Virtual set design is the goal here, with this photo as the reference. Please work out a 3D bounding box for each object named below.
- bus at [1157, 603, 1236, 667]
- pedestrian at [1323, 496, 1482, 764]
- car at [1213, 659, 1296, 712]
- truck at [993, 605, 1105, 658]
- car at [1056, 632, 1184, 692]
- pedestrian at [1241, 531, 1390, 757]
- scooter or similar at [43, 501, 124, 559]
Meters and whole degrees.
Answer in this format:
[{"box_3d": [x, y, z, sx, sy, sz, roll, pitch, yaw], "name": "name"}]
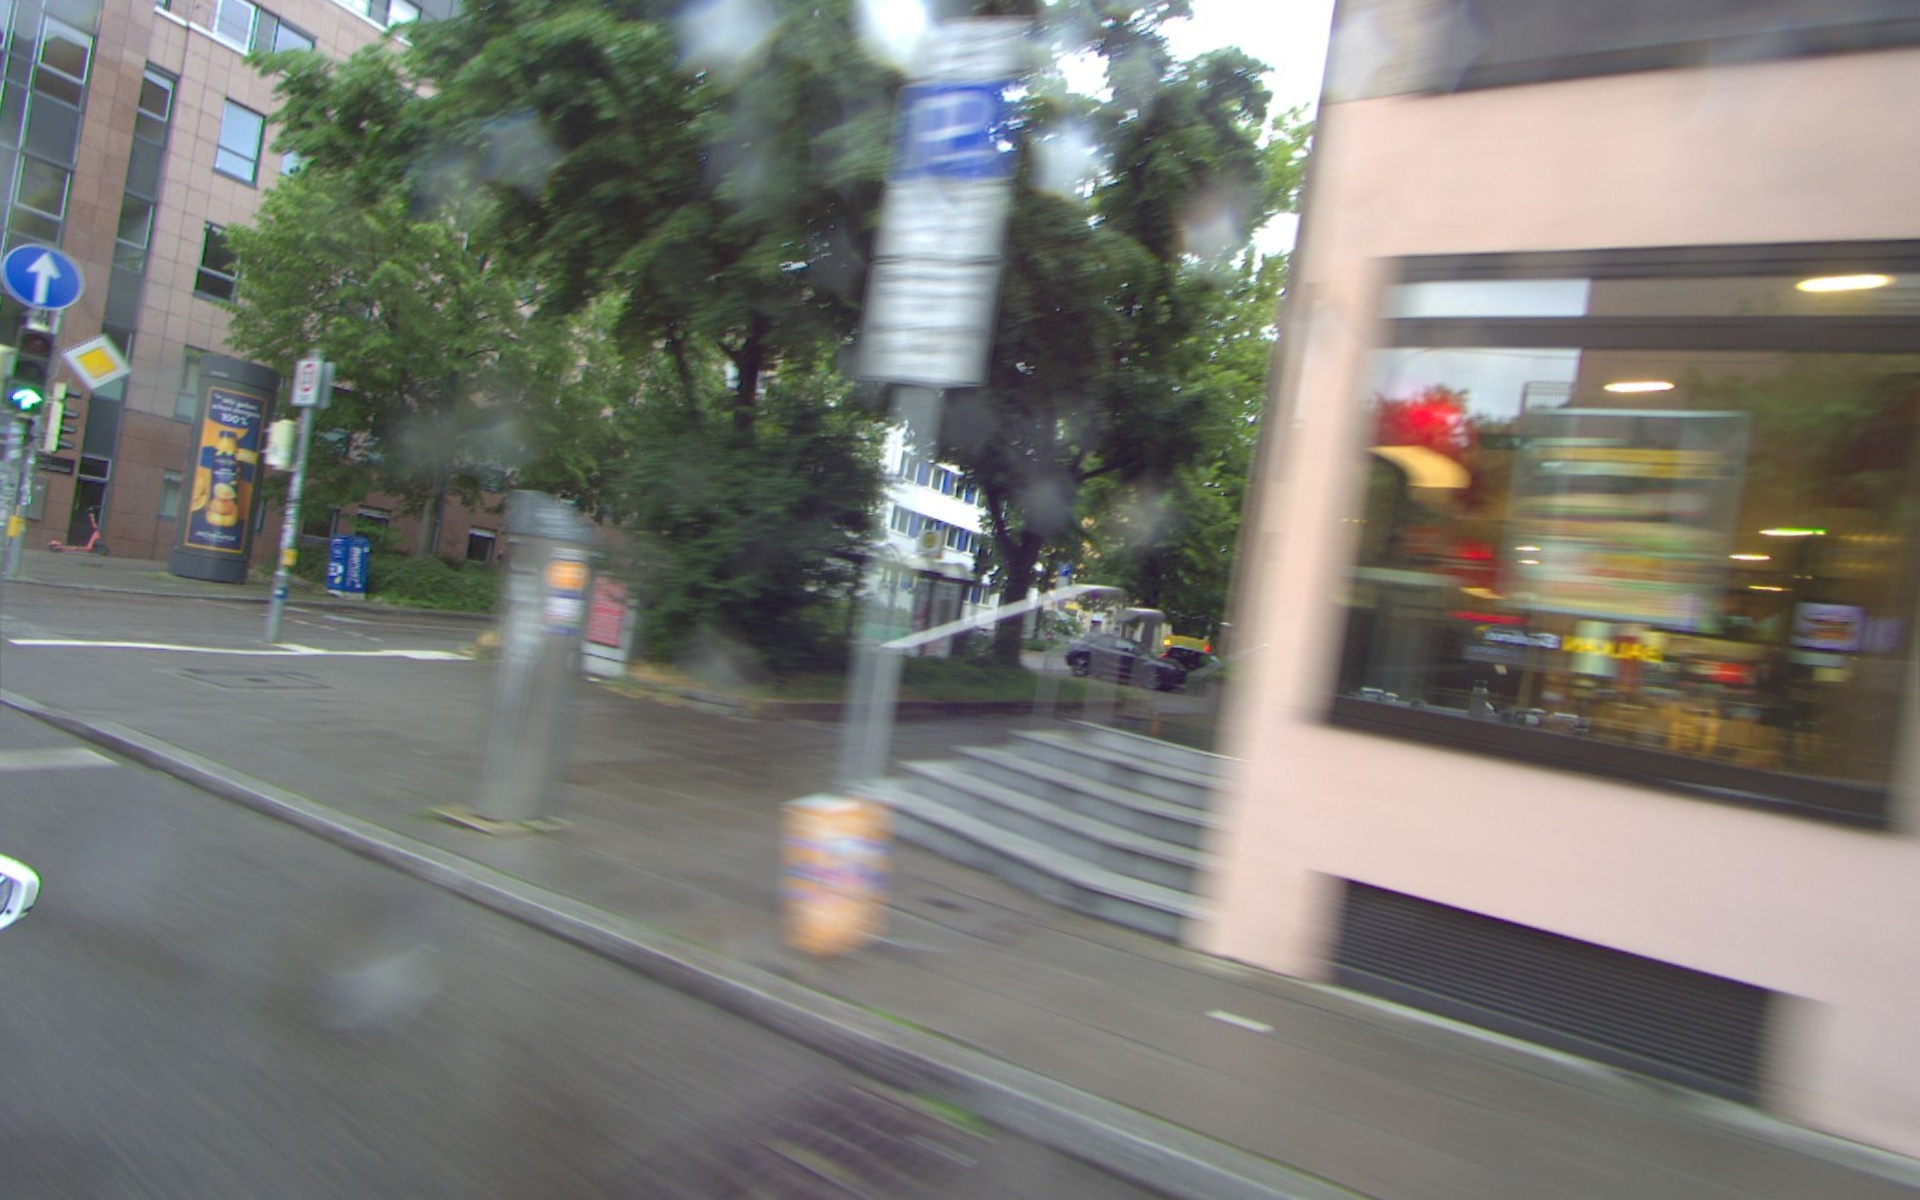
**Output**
[{"box_3d": [14.418, 2.244, 60.510, 2.802, 3.053, 10.507, 7, -1, 22], "name": "bus"}, {"box_3d": [3.266, 0.222, 7.452, 0.658, 1.842, 0.594, 7, 0, -19], "name": "pedestrian"}, {"box_3d": [9.819, 2.853, 33.368, 1.645, 1.473, 3.668, 7, -1, 31], "name": "car"}, {"box_3d": [5.249, 1.831, 59.354, 5.980, 2.305, 2.263, 7, -1, 30], "name": "truck"}, {"box_3d": [5.396, 2.097, 33.991, 3.804, 1.478, 1.677, 7, -1, 29], "name": "car"}, {"box_3d": [2.830, 0.347, 8.048, 0.715, 1.669, 0.623, 7, 0, -19], "name": "pedestrian"}, {"box_3d": [-21.903, -1.729, 25.159, 0.320, 1.242, 1.376, 7, -1, 33], "name": "scooter or similar"}]
